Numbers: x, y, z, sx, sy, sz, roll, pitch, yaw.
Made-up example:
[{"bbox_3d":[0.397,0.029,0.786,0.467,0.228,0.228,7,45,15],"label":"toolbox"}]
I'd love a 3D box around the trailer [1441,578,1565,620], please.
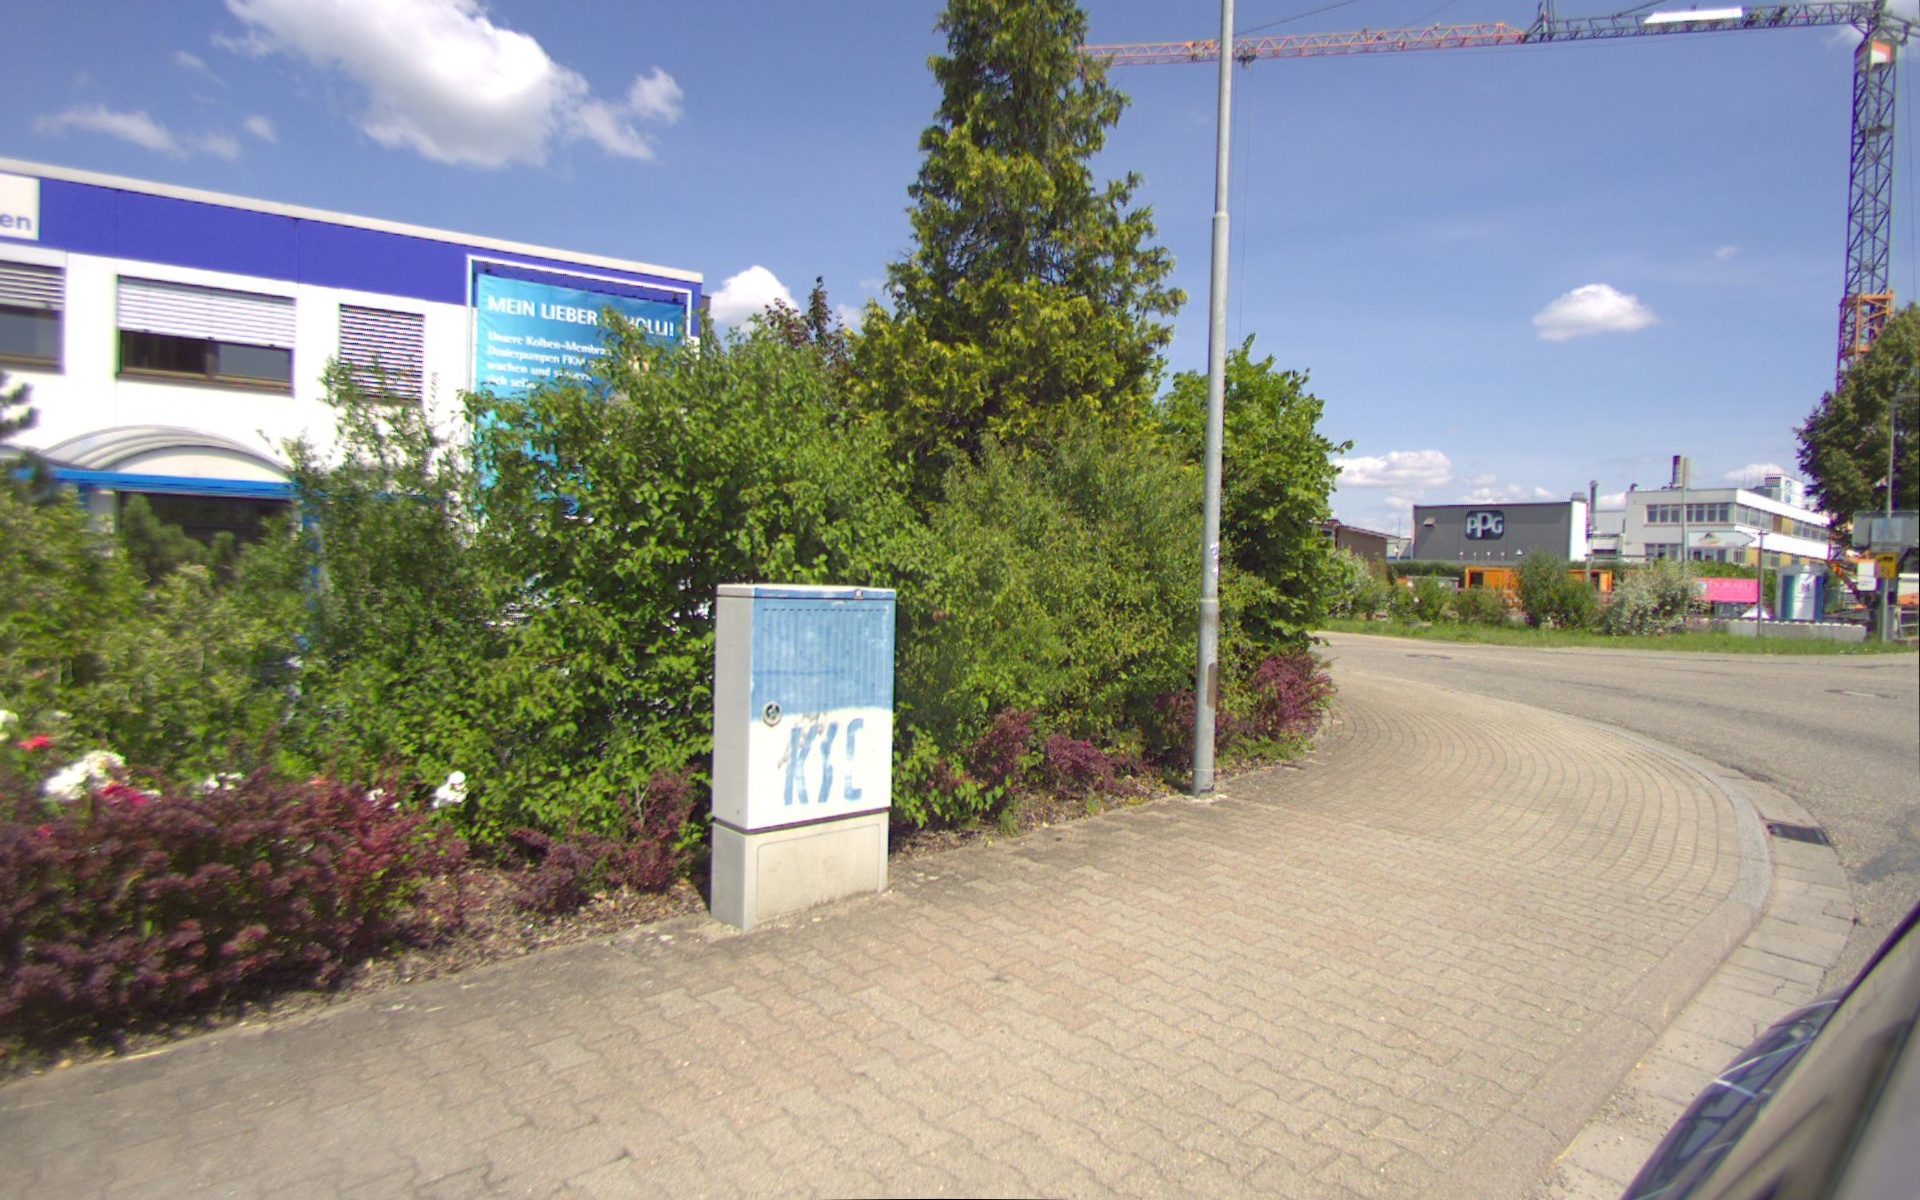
[{"bbox_3d":[27.581,-0.093,51.469,5.366,1.800,1.800,3,4,36],"label":"trailer"}]

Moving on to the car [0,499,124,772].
[{"bbox_3d":[-8.800,0.236,6.658,4.693,1.819,1.908,-1,4,-25],"label":"car"}]

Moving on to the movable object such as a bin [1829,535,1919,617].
[{"bbox_3d":[41.270,-1.061,43.771,5.090,3.330,2.372,2,7,32],"label":"movable object such as a bin"}]
